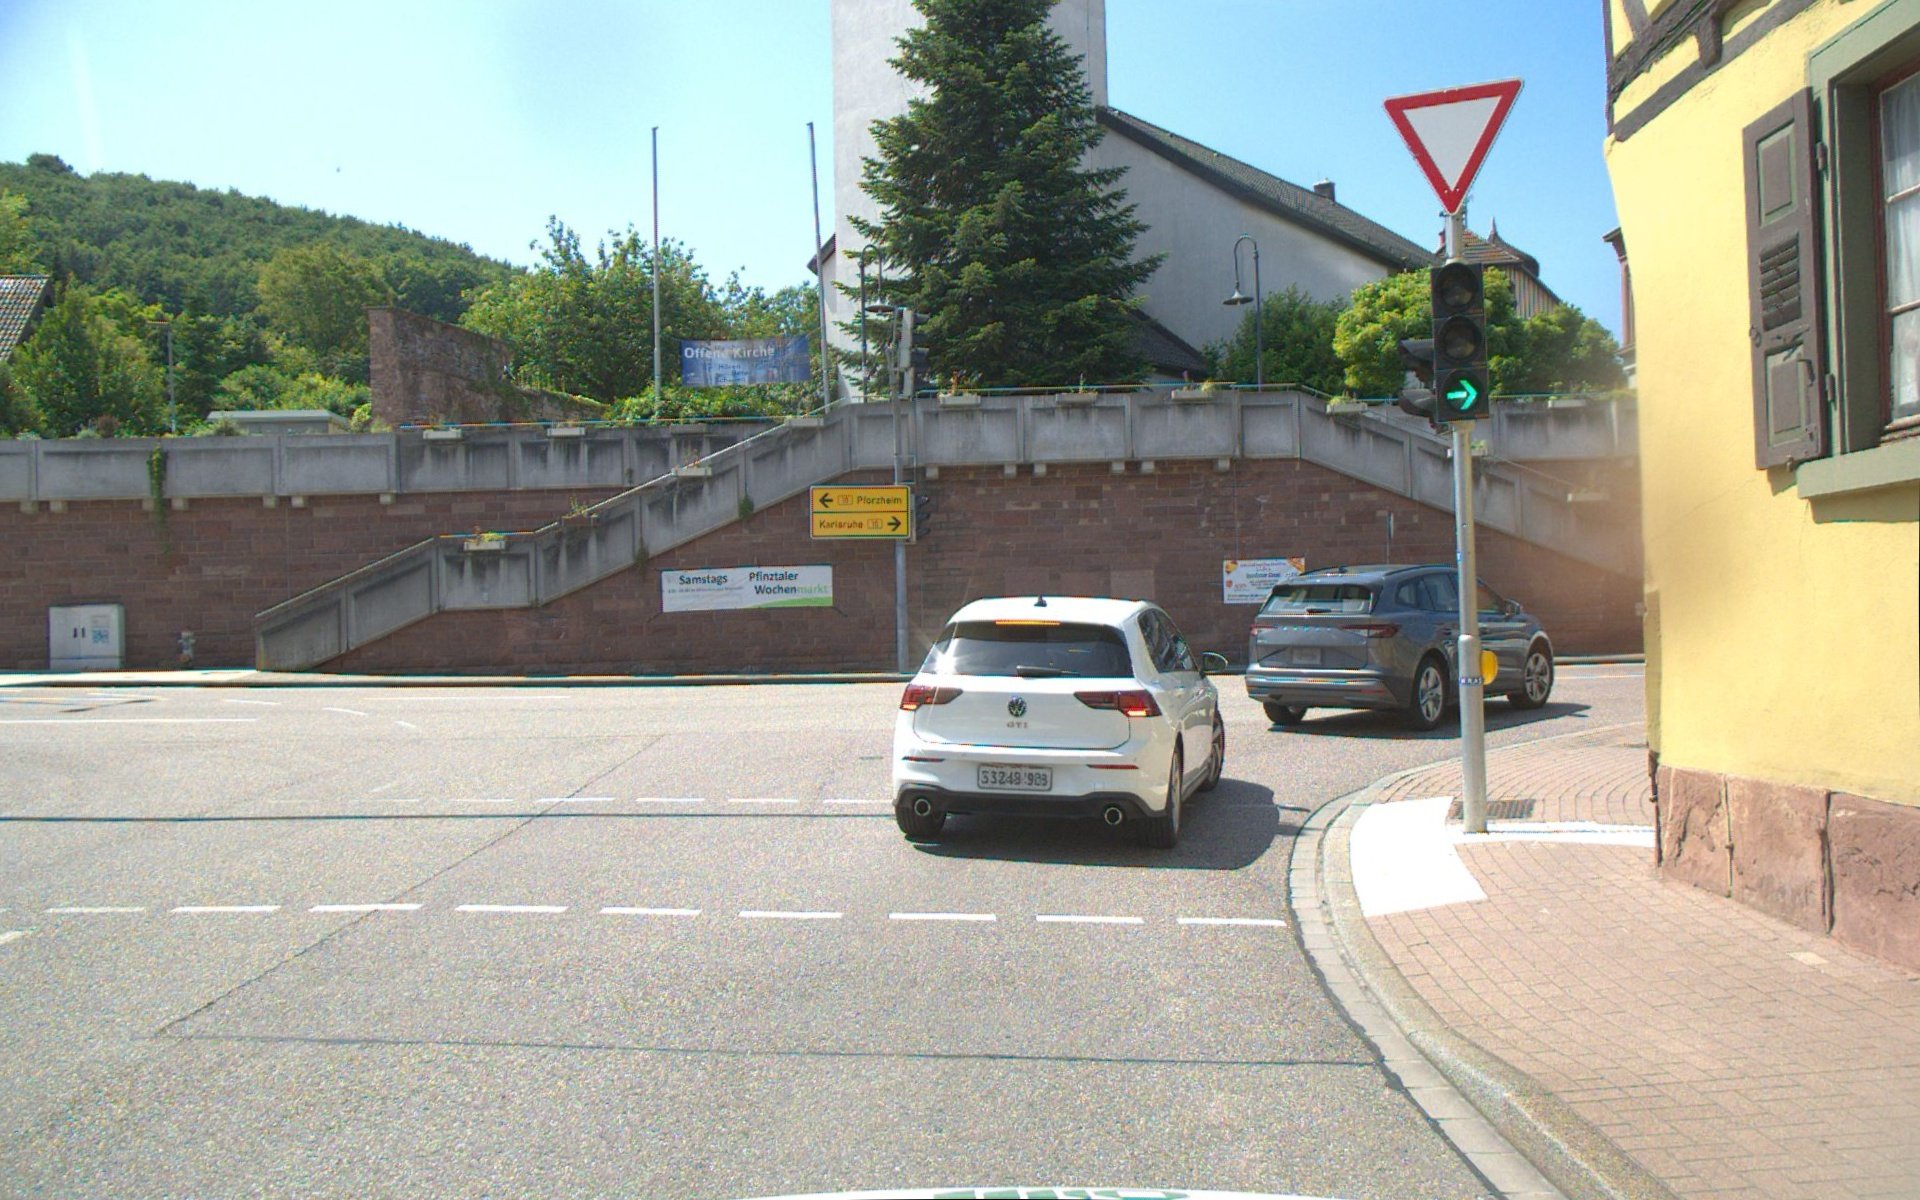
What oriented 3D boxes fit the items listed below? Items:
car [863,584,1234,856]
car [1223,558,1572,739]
[{"bbox_3d":[0.781,0.672,11.117,1.745,1.484,3.866,-2,0,14],"label":"car"},{"bbox_3d":[4.790,0.397,17.724,1.920,1.609,4.301,1,3,41],"label":"car"}]
